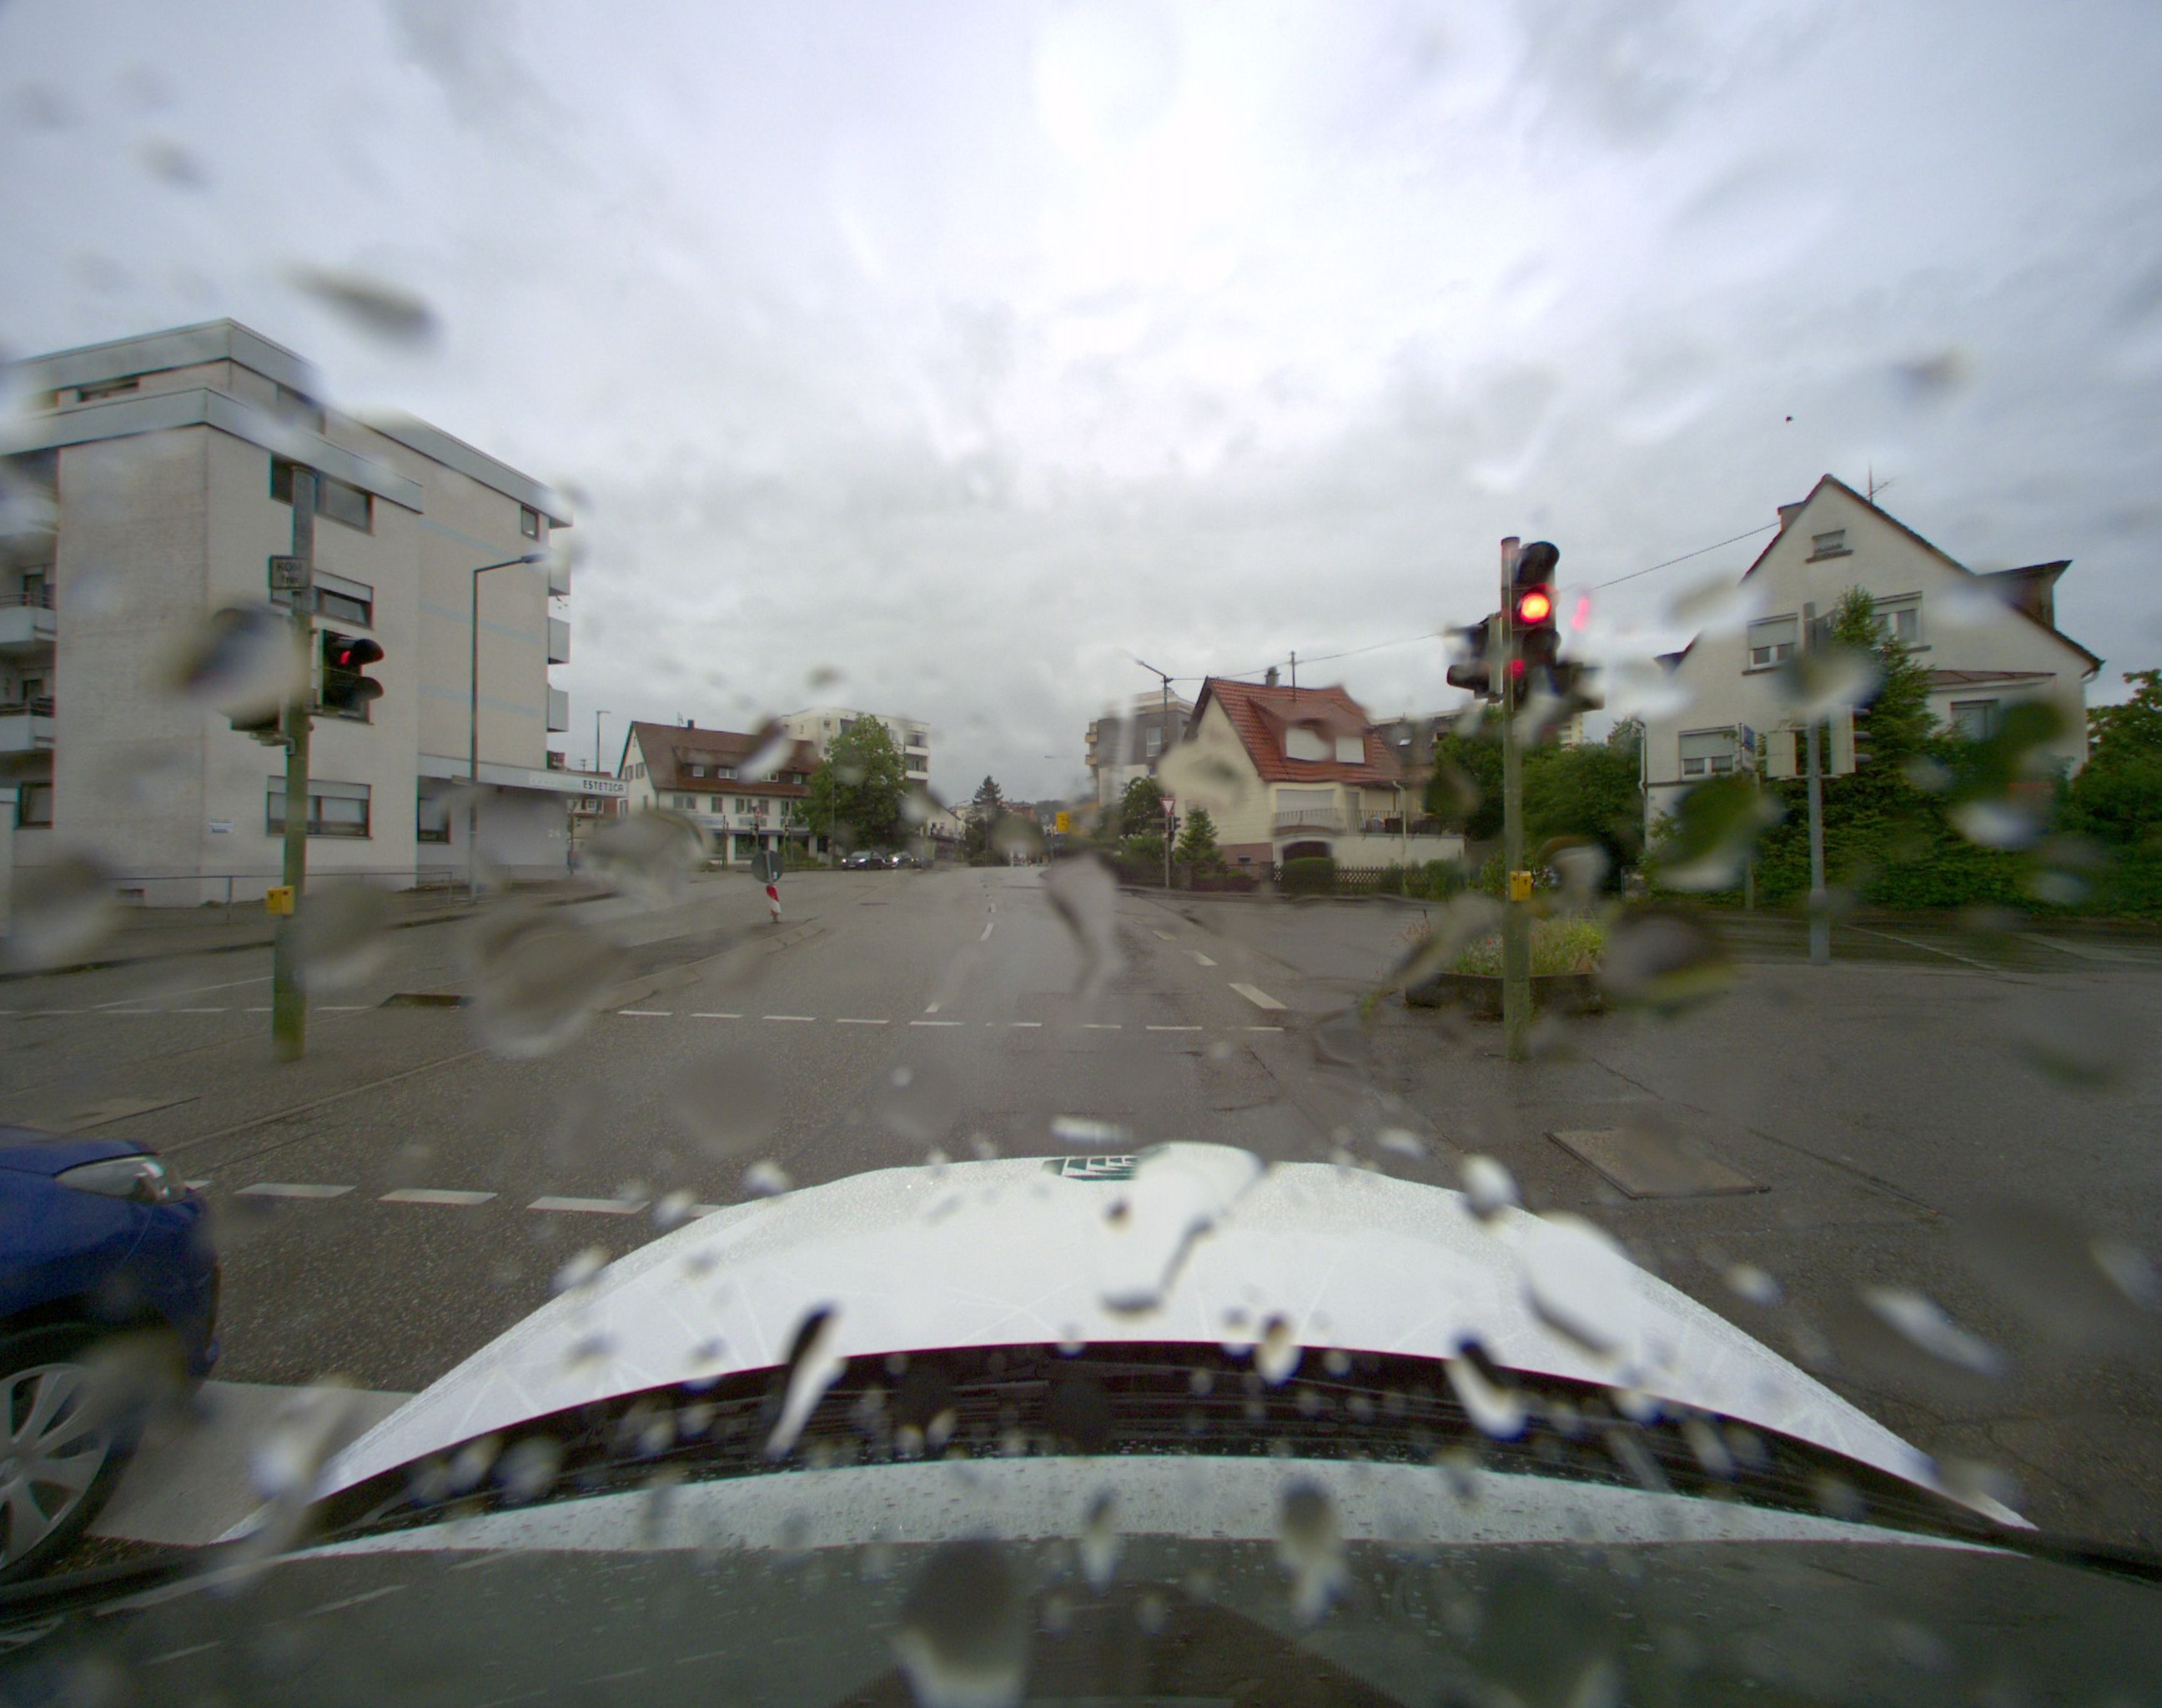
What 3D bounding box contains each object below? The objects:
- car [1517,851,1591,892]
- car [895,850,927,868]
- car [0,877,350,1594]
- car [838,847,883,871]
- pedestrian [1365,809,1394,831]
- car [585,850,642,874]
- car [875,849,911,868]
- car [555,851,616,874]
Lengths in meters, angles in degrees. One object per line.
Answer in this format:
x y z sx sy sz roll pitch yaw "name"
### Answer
17.111 0.600 29.366 1.794 1.362 4.025 -1 -1 37 "car"
-14.962 0.444 71.788 1.873 1.597 4.184 0 -1 0 "car"
-2.951 0.787 0.719 1.499 1.413 3.365 0 0 2 "car"
-15.891 0.365 58.833 1.987 1.625 4.538 0 -1 0 "car"
12.770 -1.431 34.851 0.918 0.883 0.632 0 -3 -18 "pedestrian"
-38.444 0.638 66.971 3.706 1.920 1.864 0 -1 -44 "car"
-15.272 0.346 66.292 1.960 1.512 3.999 0 -1 0 "car"
-41.218 0.677 67.794 4.093 1.843 1.864 0 -1 -44 "car"
